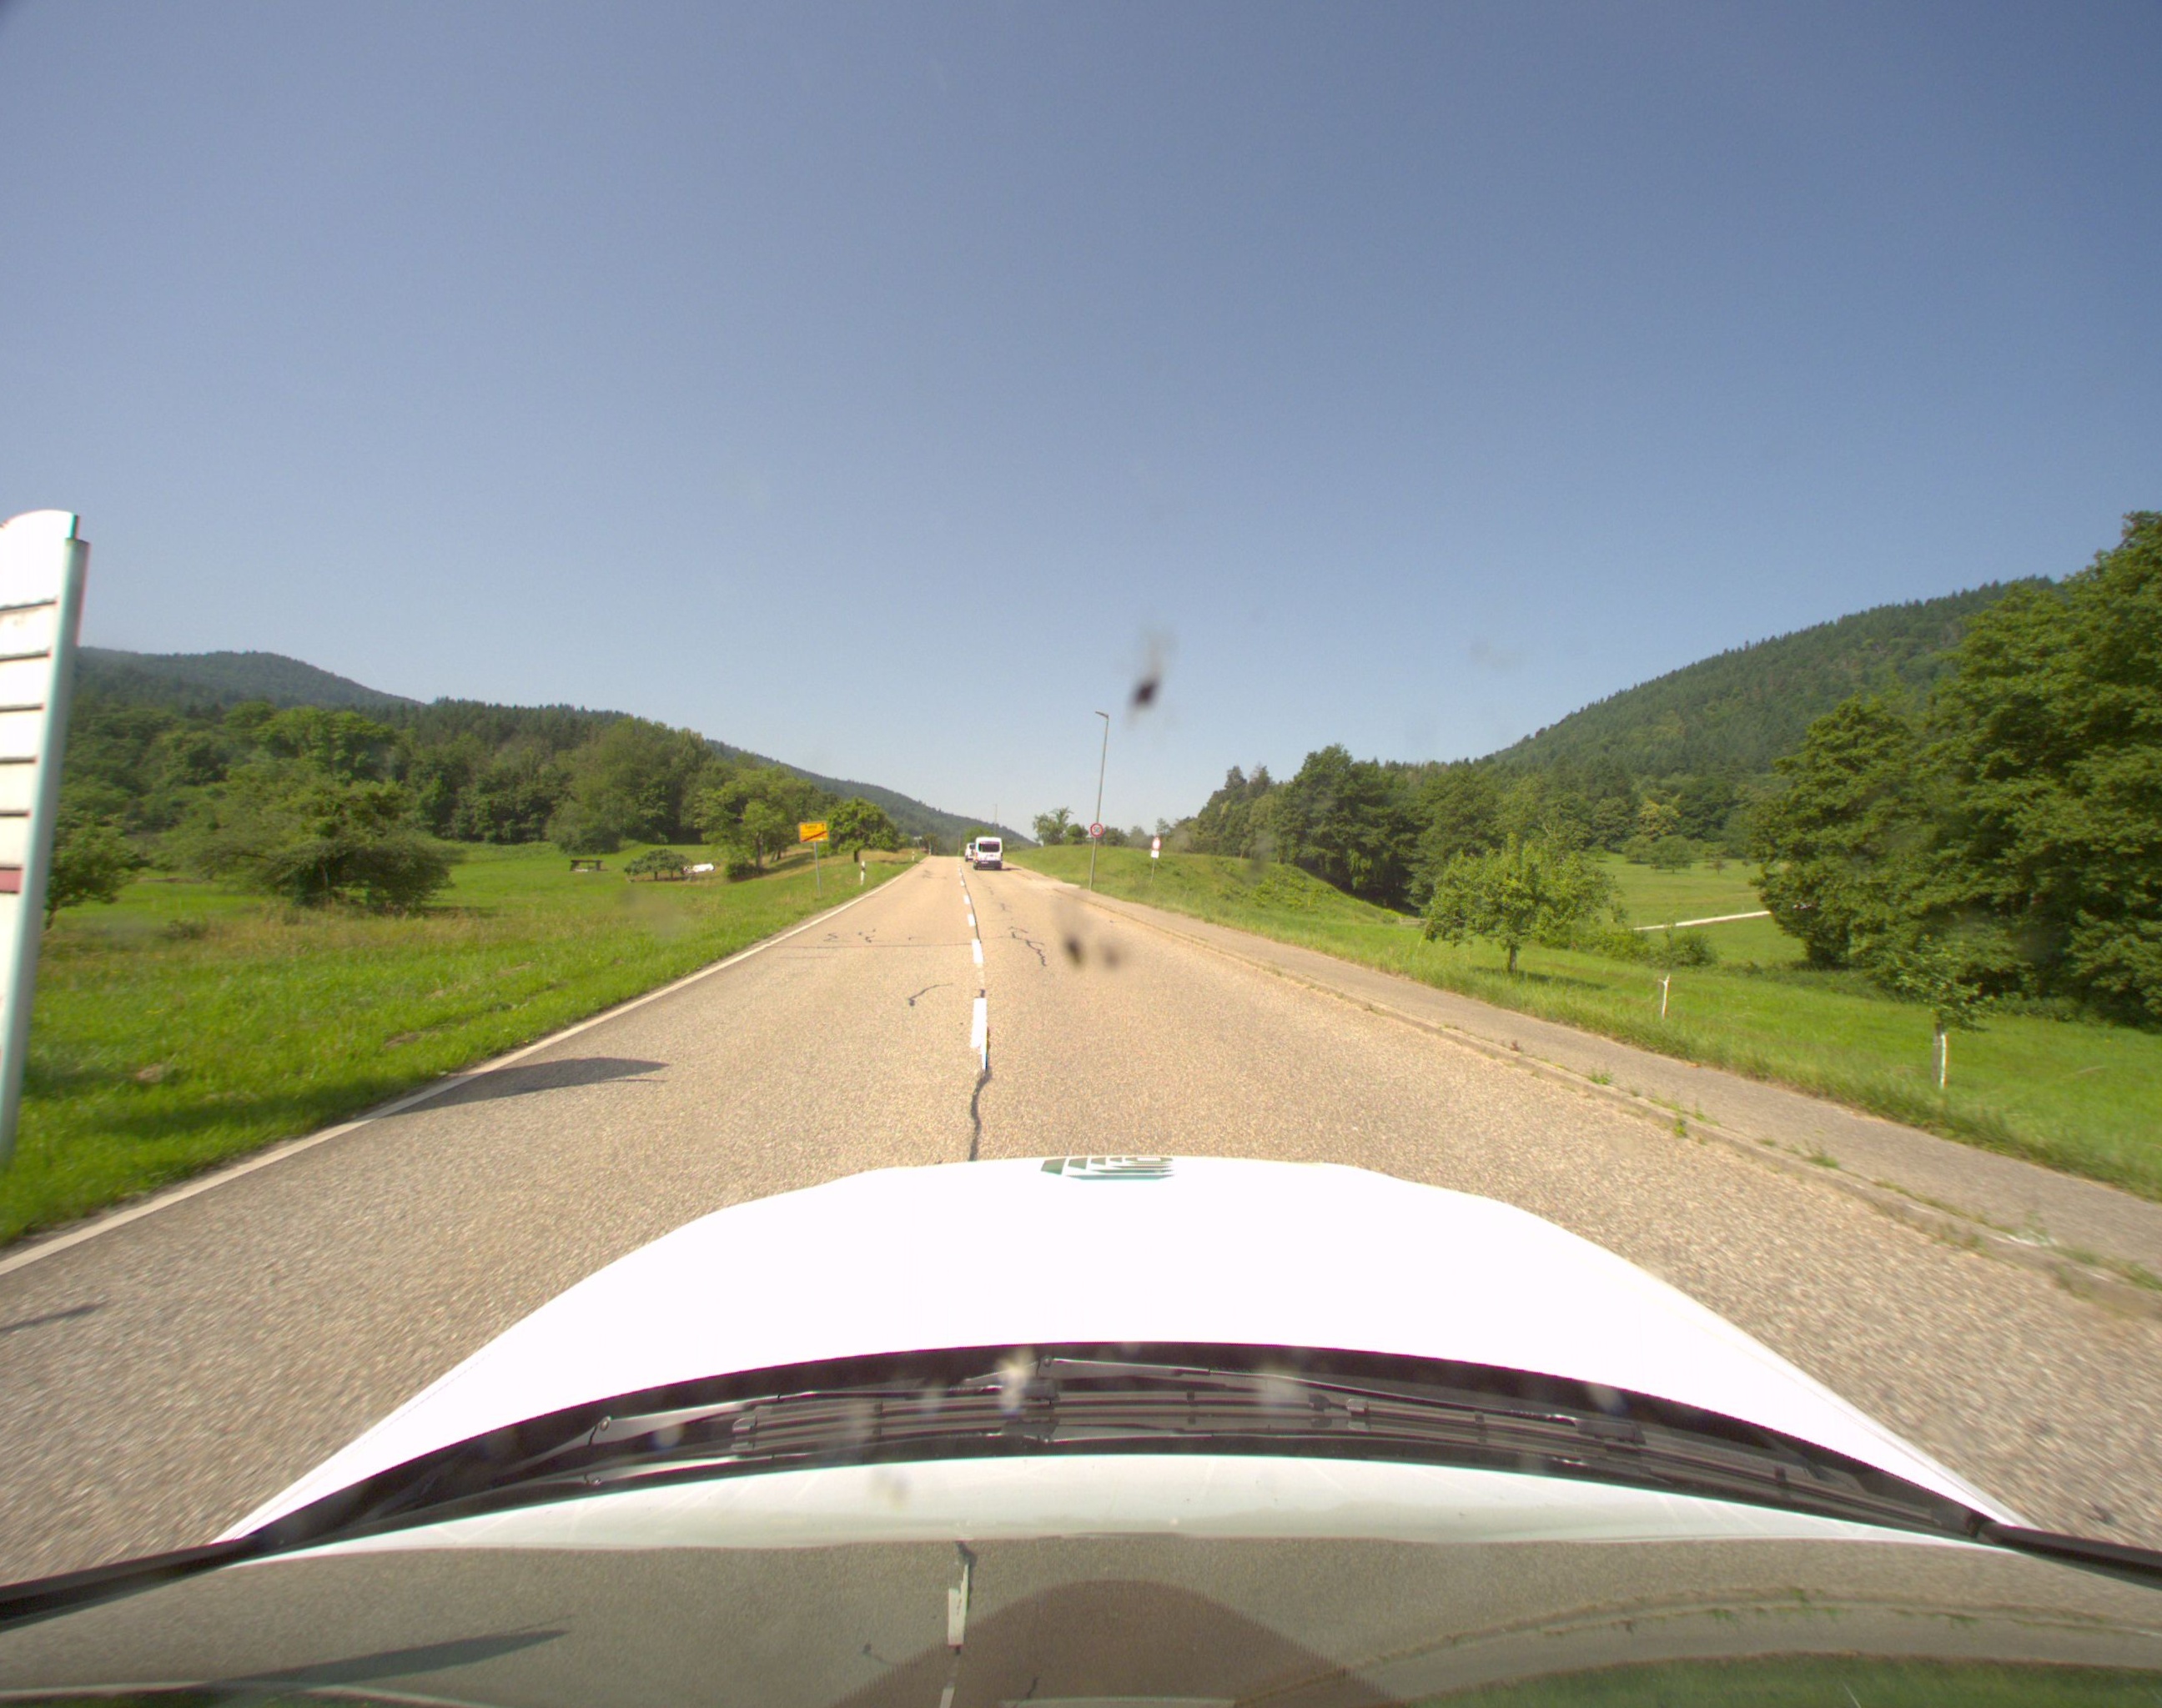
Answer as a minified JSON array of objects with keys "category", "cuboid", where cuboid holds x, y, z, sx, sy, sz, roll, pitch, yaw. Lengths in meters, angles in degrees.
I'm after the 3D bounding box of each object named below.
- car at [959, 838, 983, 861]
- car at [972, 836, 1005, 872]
[{"category":"car","cuboid":[-11.995,-0.422,88.548,2.223,2.287,4.965,-1,-2,-11]},{"category":"car","cuboid":[-7.076,0.063,62.026,2.222,2.526,4.968,-1,-2,-9]}]
